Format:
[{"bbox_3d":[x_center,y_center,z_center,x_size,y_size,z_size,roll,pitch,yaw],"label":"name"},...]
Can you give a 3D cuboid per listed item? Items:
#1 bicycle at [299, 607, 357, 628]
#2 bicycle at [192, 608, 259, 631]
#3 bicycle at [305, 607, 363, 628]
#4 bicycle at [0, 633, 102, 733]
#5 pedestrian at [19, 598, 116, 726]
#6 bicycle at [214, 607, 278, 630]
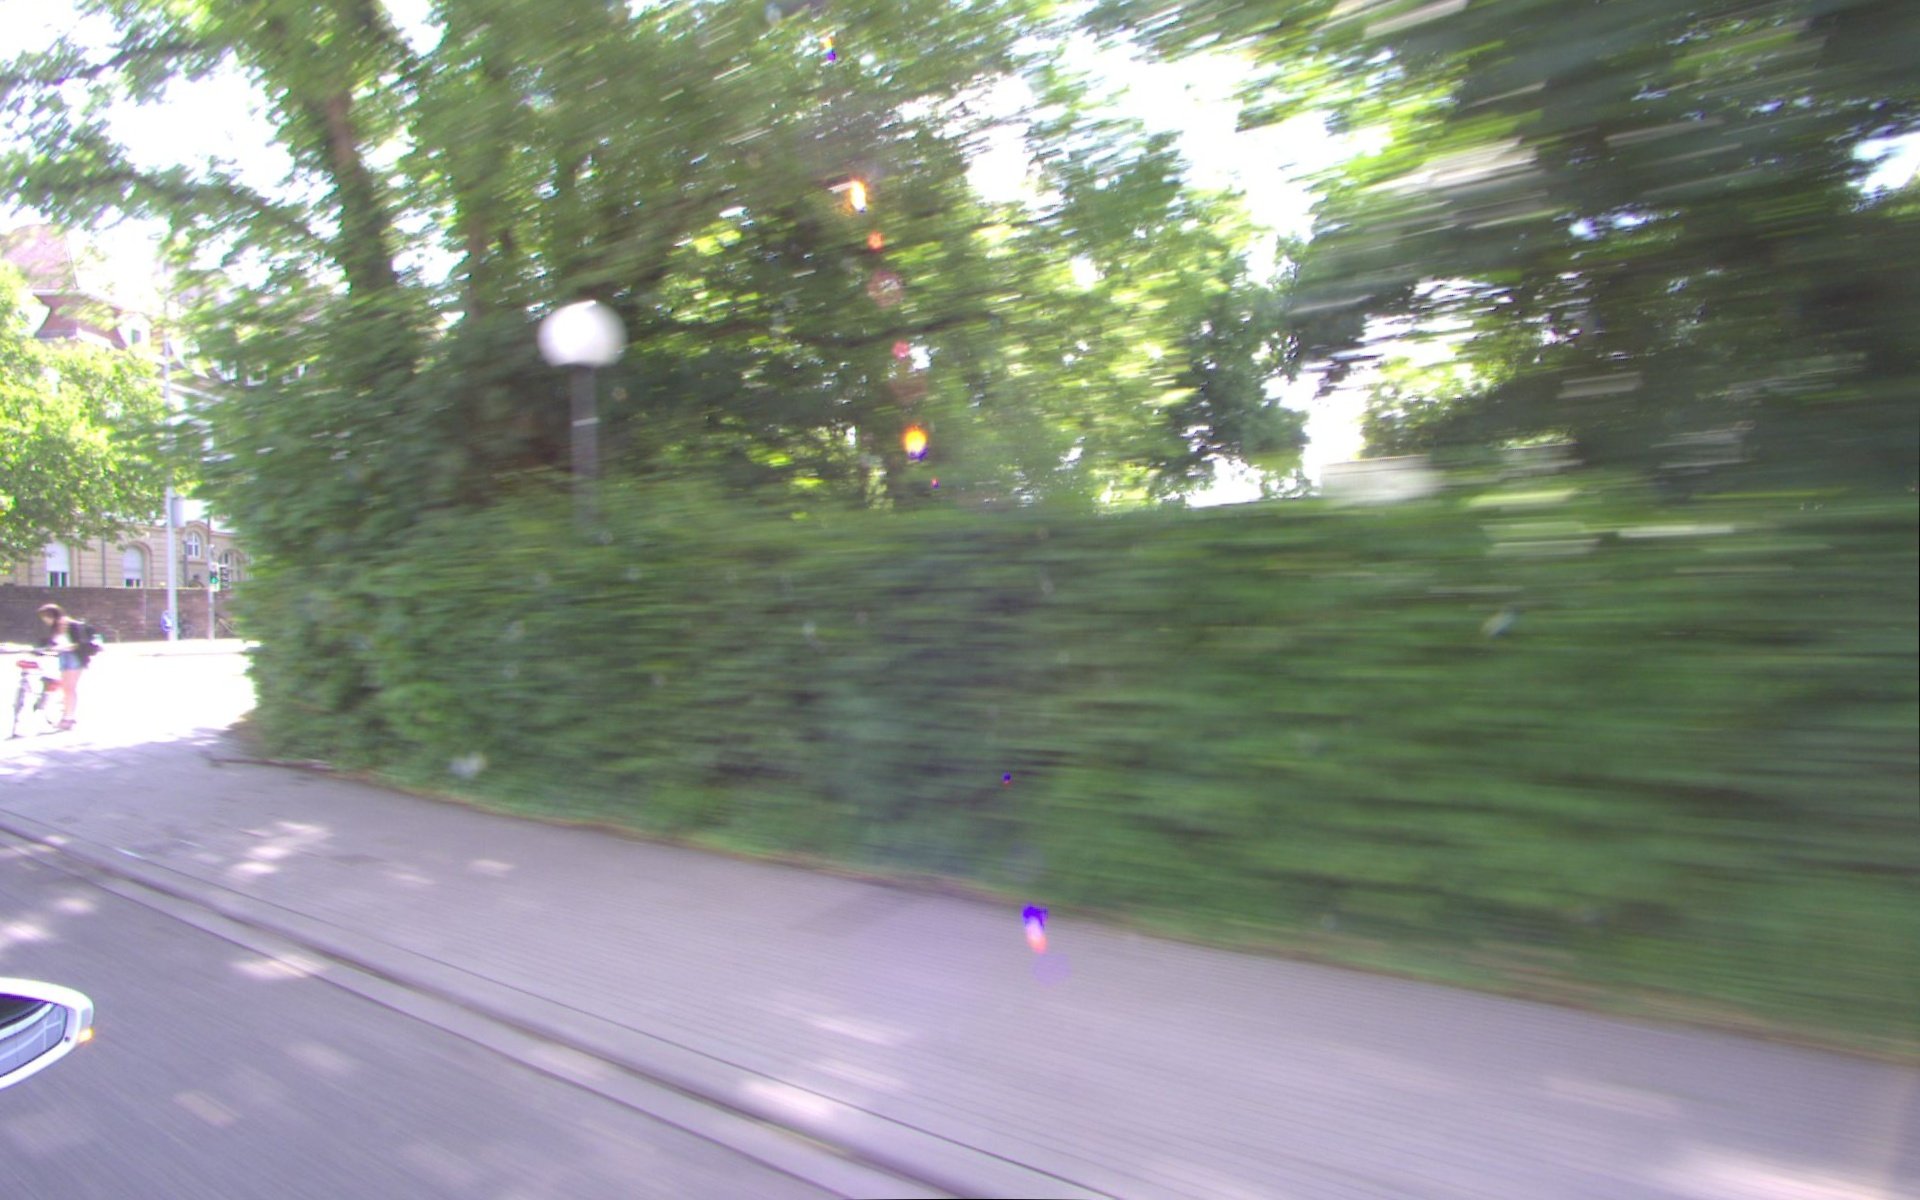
[{"bbox_3d":[-31.524,0.882,49.974,0.714,1.007,2.377,0,0,30],"label":"bicycle"},{"bbox_3d":[-33.615,0.881,45.852,0.743,1.007,2.377,0,0,30],"label":"bicycle"},{"bbox_3d":[-31.371,0.867,50.229,0.743,1.007,2.377,0,0,30],"label":"bicycle"},{"bbox_3d":[-11.840,1.039,13.037,0.584,1.142,1.734,-3,2,-28],"label":"bicycle"},{"bbox_3d":[-11.793,0.793,13.258,0.716,1.597,0.730,-3,2,-28],"label":"pedestrian"},{"bbox_3d":[-33.185,0.848,46.574,0.686,1.007,2.377,0,0,30],"label":"bicycle"}]
